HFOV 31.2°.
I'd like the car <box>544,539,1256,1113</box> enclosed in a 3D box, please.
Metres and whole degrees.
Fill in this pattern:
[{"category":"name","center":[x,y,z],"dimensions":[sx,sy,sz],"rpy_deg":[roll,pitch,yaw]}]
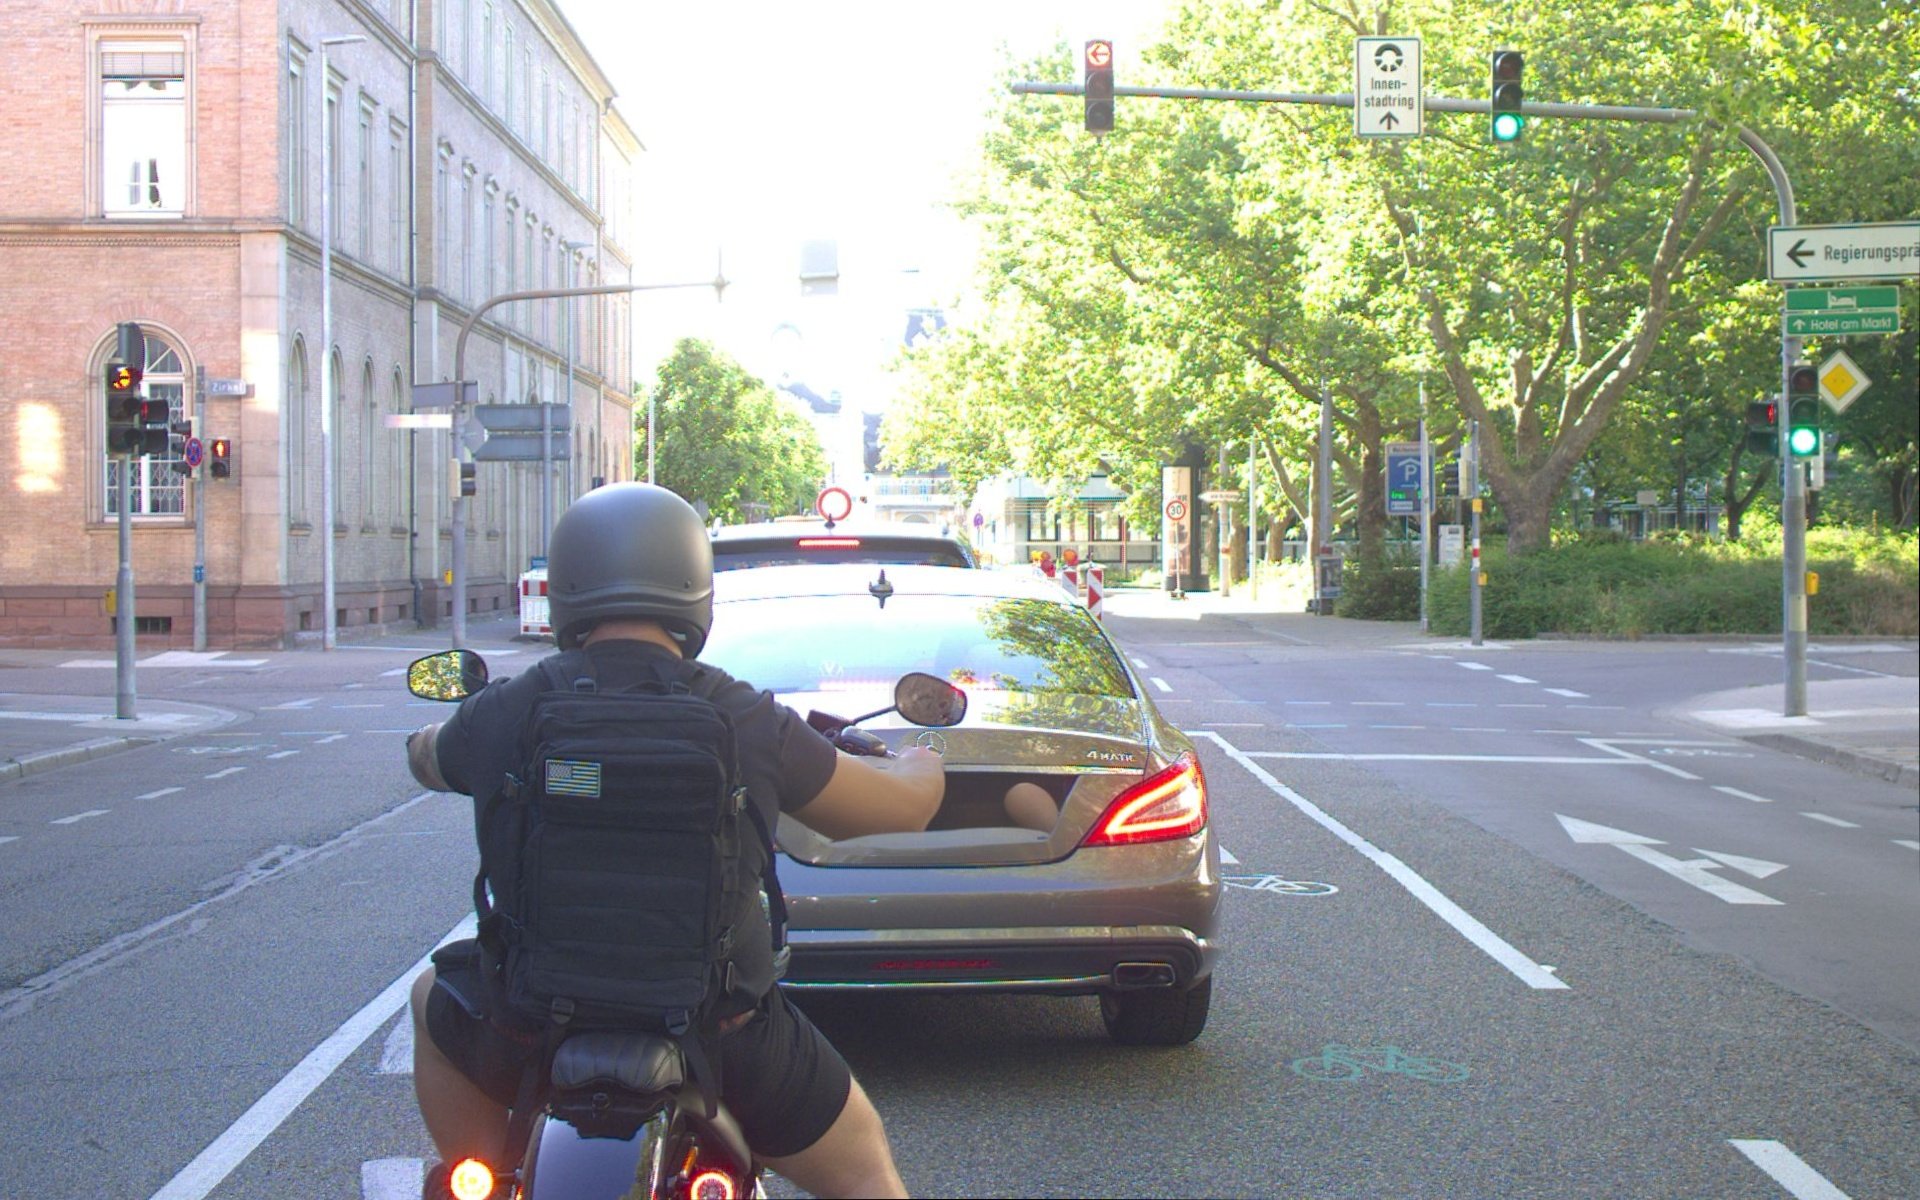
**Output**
[{"category":"car","center":[-0.405,0.569,11.130],"dimensions":[1.824,1.481,4.334],"rpy_deg":[1,1,-7]}]

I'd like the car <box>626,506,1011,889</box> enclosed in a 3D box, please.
[{"category":"car","center":[-0.636,0.406,16.975],"dimensions":[1.651,1.646,4.000],"rpy_deg":[1,1,-1]}]

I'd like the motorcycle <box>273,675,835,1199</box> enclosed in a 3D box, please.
[{"category":"motorcycle","center":[-0.561,0.774,5.424],"dimensions":[0.660,1.236,2.058],"rpy_deg":[1,1,-1]}]

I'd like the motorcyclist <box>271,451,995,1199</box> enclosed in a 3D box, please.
[{"category":"motorcyclist","center":[-0.464,0.597,5.330],"dimensions":[0.990,1.605,1.120],"rpy_deg":[1,0,-1]}]
